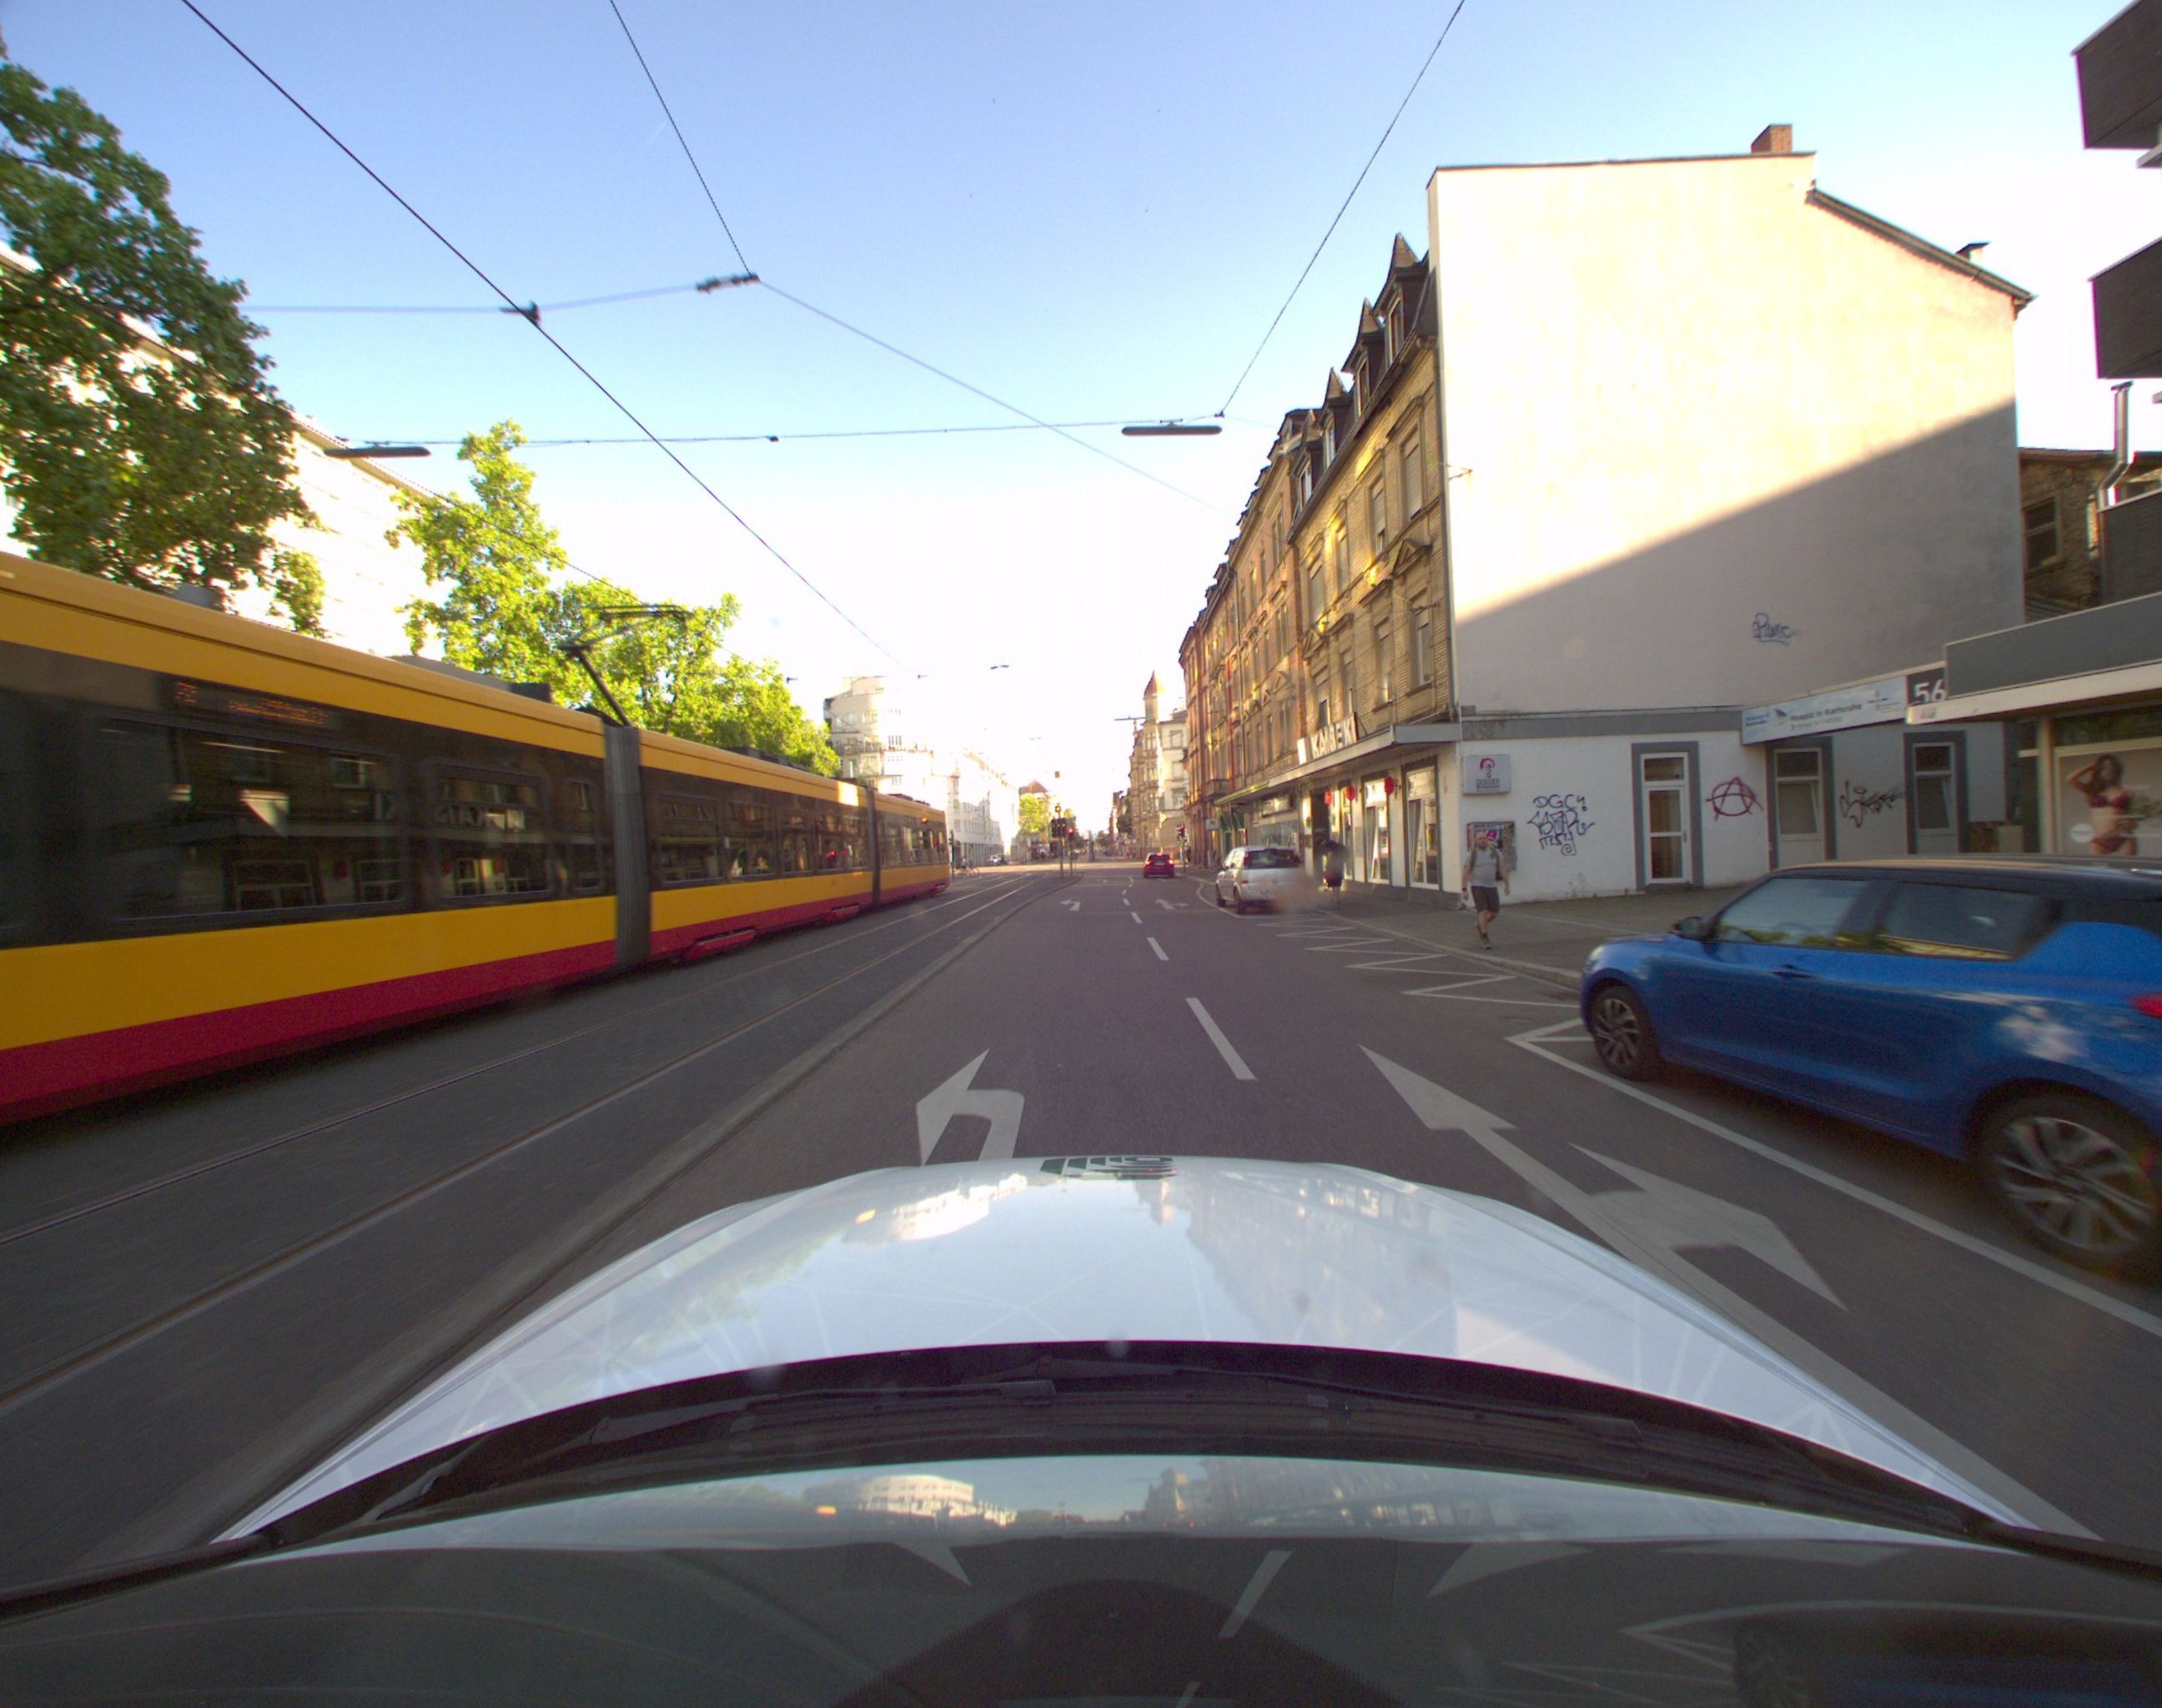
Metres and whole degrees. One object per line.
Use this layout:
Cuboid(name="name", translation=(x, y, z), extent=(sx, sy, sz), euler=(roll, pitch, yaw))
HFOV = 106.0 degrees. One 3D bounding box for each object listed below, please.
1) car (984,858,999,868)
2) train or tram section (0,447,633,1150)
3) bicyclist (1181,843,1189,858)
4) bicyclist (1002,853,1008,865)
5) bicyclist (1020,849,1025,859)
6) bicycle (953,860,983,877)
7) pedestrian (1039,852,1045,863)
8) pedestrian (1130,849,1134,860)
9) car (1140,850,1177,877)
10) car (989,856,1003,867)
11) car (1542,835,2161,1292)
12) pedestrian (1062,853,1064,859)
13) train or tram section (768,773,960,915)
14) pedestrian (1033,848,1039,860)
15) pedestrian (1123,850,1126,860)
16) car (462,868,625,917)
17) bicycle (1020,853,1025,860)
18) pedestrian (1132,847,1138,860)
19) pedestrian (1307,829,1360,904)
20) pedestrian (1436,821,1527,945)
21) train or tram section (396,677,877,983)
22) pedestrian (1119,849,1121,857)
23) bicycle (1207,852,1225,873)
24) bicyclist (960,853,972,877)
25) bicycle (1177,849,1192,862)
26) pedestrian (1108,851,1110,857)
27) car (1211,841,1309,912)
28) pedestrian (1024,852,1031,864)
Cuboid(name="car", translation=(-13.467, 1.346, 122.714), extent=(1.758, 1.546, 3.463), euler=(-2, 0, 2))
Cuboid(name="train or tram section", translation=(-6.822, -0.249, 3.384), extent=(2.749, 3.551, 12.468), euler=(-2, 0, 1))
Cuboid(name="bicyclist", translation=(9.898, -0.314, 77.480), extent=(0.661, 1.409, 0.418), euler=(-2, 0, -31))
Cuboid(name="bicyclist", translation=(-11.125, 0.722, 118.952), extent=(0.805, 1.726, 0.794), euler=(-2, 0, 0))
Cuboid(name="bicyclist", translation=(-10.816, 0.009, 150.299), extent=(0.805, 1.821, 0.994), euler=(-2, 0, 1))
Cuboid(name="bicycle", translation=(-7.864, 1.002, 56.526), extent=(2.019, 1.177, 0.626), euler=(-1, -1, -11))
Cuboid(name="pedestrian", translation=(-7.122, 0.625, 149.453), extent=(1.042, 2.013, 0.959), euler=(-2, 0, -1))
Cuboid(name="pedestrian", translation=(9.197, 0.140, 147.433), extent=(0.644, 2.013, 0.683), euler=(-2, 0, 1))
Cuboid(name="car", translation=(4.461, 0.529, 47.492), extent=(1.749, 1.466, 3.944), euler=(0, 0, -1))
Cuboid(name="car", translation=(-13.773, 1.229, 132.359), extent=(1.695, 1.718, 3.565), euler=(-2, 0, 1))
Cuboid(name="car", translation=(4.342, 0.697, 4.324), extent=(1.632, 1.492, 3.794), euler=(0, 0, -1))
Cuboid(name="pedestrian", translation=(-5.324, 0.551, 239.588), extent=(0.630, 1.604, 0.576), euler=(-2, 0, -15))
Cuboid(name="train or tram section", translation=(-6.515, -0.228, 27.278), extent=(2.666, 3.551, 12.842), euler=(-2, 0, 1))
Cuboid(name="pedestrian", translation=(-7.852, 0.053, 143.121), extent=(0.952, 2.013, 1.049), euler=(-2, 0, 1))
Cuboid(name="pedestrian", translation=(8.609, 0.240, 160.233), extent=(0.574, 2.013, 0.632), euler=(-2, 0, 7))
Cuboid(name="car", translation=(-17.293, 1.188, 26.480), extent=(4.282, 1.429, 1.750), euler=(0, -1, -30))
Cuboid(name="bicycle", translation=(-10.800, 0.485, 150.469), extent=(0.805, 1.147, 2.011), euler=(-2, 0, 1))
Cuboid(name="pedestrian", translation=(8.047, -0.052, 121.366), extent=(0.649, 2.013, 0.760), euler=(-2, 0, 0))
Cuboid(name="pedestrian", translation=(6.397, 0.310, 20.720), extent=(0.943, 1.792, 1.055), euler=(-3, 0, 0))
Cuboid(name="pedestrian", translation=(6.035, 0.428, 12.327), extent=(0.785, 1.738, 0.945), euler=(-5, -1, 0))
Cuboid(name="train or tram section", translation=(-6.702, -0.264, 15.276), extent=(2.666, 3.551, 11.127), euler=(-2, 0, 1))
Cuboid(name="pedestrian", translation=(9.697, -0.182, 202.519), extent=(0.575, 2.013, 0.631), euler=(-2, 0, 2))
Cuboid(name="bicycle", translation=(8.070, 0.499, 48.758), extent=(0.709, 1.152, 1.663), euler=(-4, 0, 20))
Cuboid(name="bicyclist", translation=(-7.916, 0.765, 56.105), extent=(0.730, 1.627, 0.763), euler=(-1, -1, -11))
Cuboid(name="bicycle", translation=(9.851, 0.136, 77.446), extent=(1.418, 1.096, 0.418), euler=(-2, 0, -31))
Cuboid(name="pedestrian", translation=(8.368, 0.031, 245.884), extent=(0.575, 1.887, 0.670), euler=(-2, 0, 1))
Cuboid(name="car", translation=(4.500, 0.529, 21.001), extent=(1.632, 1.615, 3.944), euler=(-1, 0, 0))
Cuboid(name="pedestrian", translation=(-7.577, 0.607, 115.368), extent=(0.765, 1.730, 0.573), euler=(-2, 0, 3))
